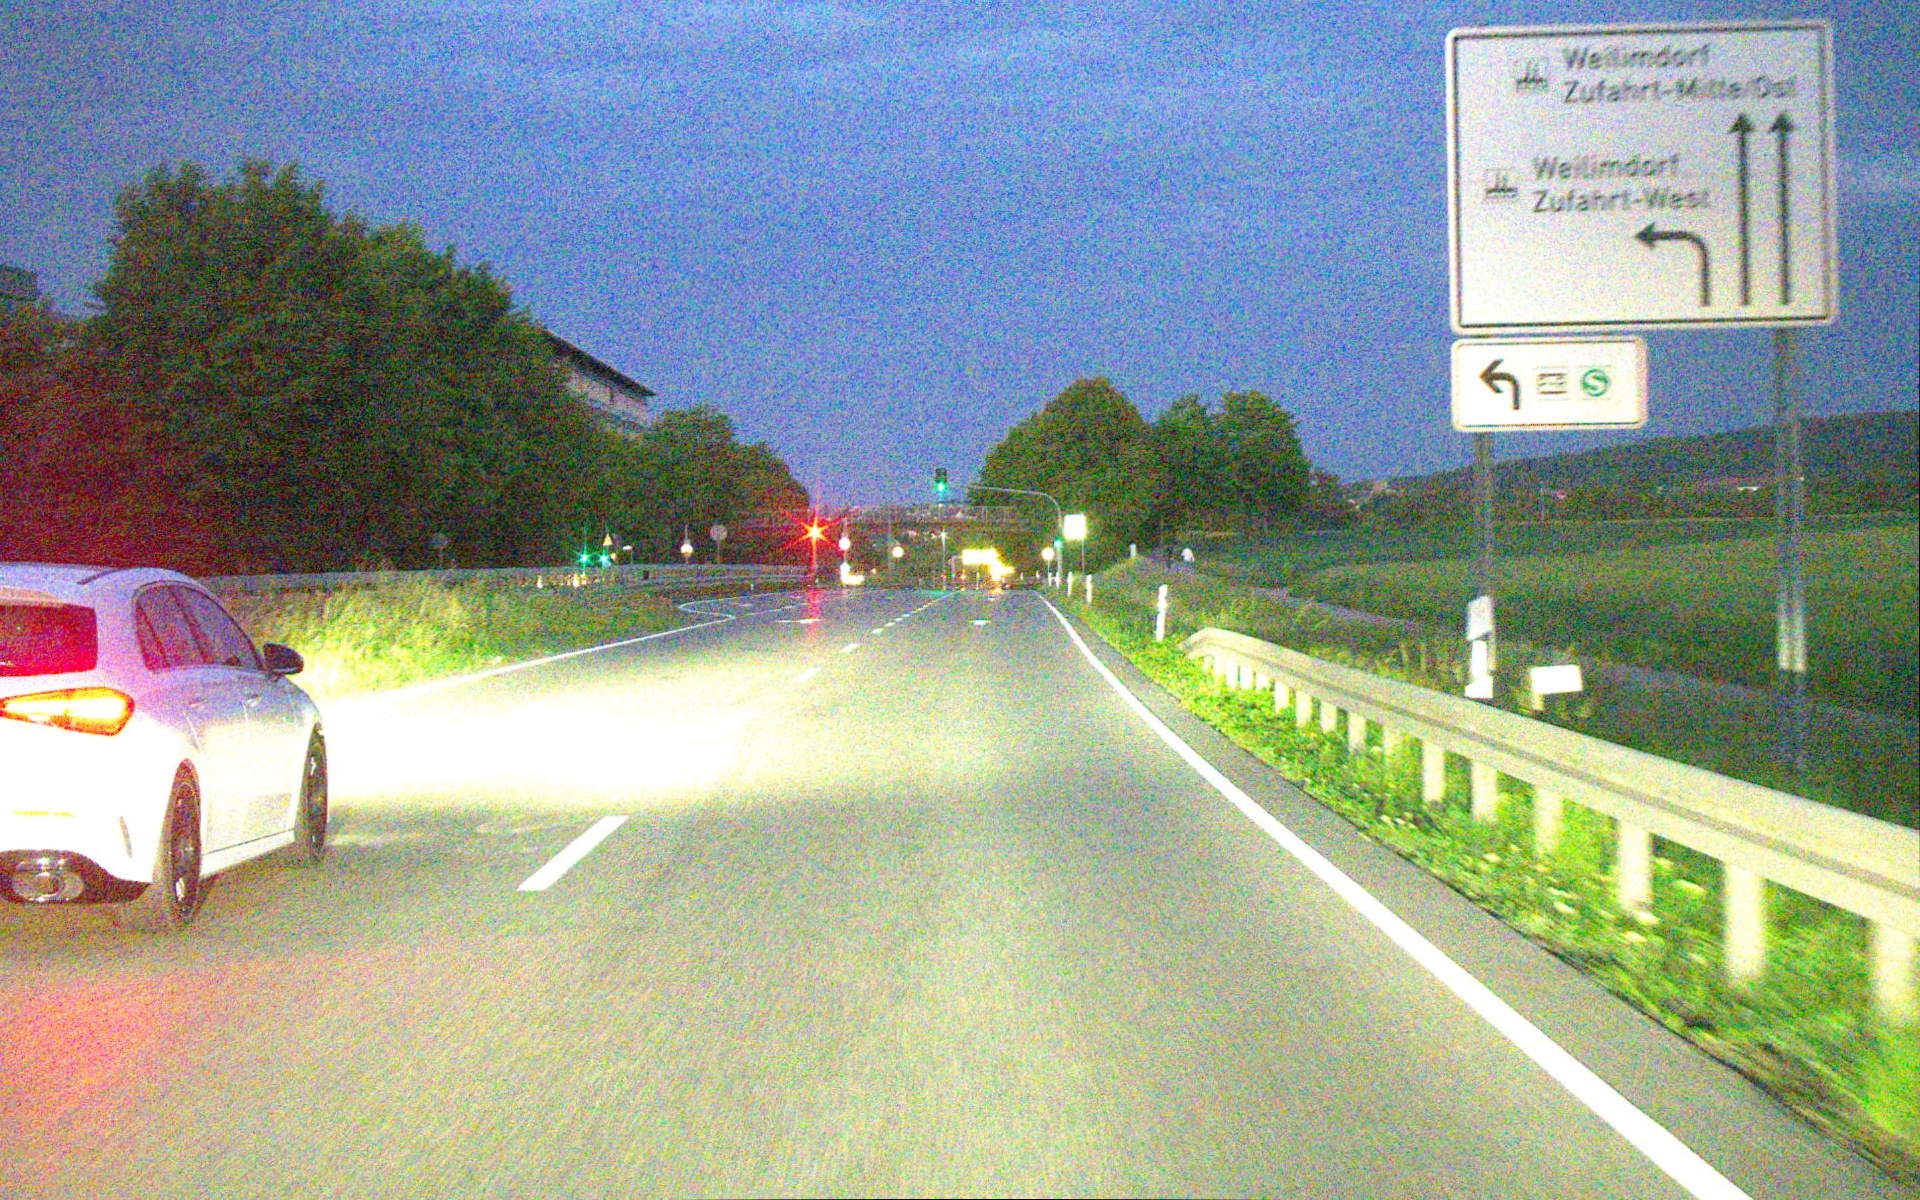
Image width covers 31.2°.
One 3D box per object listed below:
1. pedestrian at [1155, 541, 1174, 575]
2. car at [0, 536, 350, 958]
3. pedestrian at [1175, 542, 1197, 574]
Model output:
[{"bbox_3d":[10.930,-2.261,183.945,0.922,1.787,1.106,1,1,1],"label":"pedestrian"},{"bbox_3d":[-3.750,0.478,14.434,1.642,1.485,4.580,1,1,-1],"label":"car"},{"bbox_3d":[12.070,-2.243,183.920,1.090,1.717,1.260,1,0,0],"label":"pedestrian"}]
